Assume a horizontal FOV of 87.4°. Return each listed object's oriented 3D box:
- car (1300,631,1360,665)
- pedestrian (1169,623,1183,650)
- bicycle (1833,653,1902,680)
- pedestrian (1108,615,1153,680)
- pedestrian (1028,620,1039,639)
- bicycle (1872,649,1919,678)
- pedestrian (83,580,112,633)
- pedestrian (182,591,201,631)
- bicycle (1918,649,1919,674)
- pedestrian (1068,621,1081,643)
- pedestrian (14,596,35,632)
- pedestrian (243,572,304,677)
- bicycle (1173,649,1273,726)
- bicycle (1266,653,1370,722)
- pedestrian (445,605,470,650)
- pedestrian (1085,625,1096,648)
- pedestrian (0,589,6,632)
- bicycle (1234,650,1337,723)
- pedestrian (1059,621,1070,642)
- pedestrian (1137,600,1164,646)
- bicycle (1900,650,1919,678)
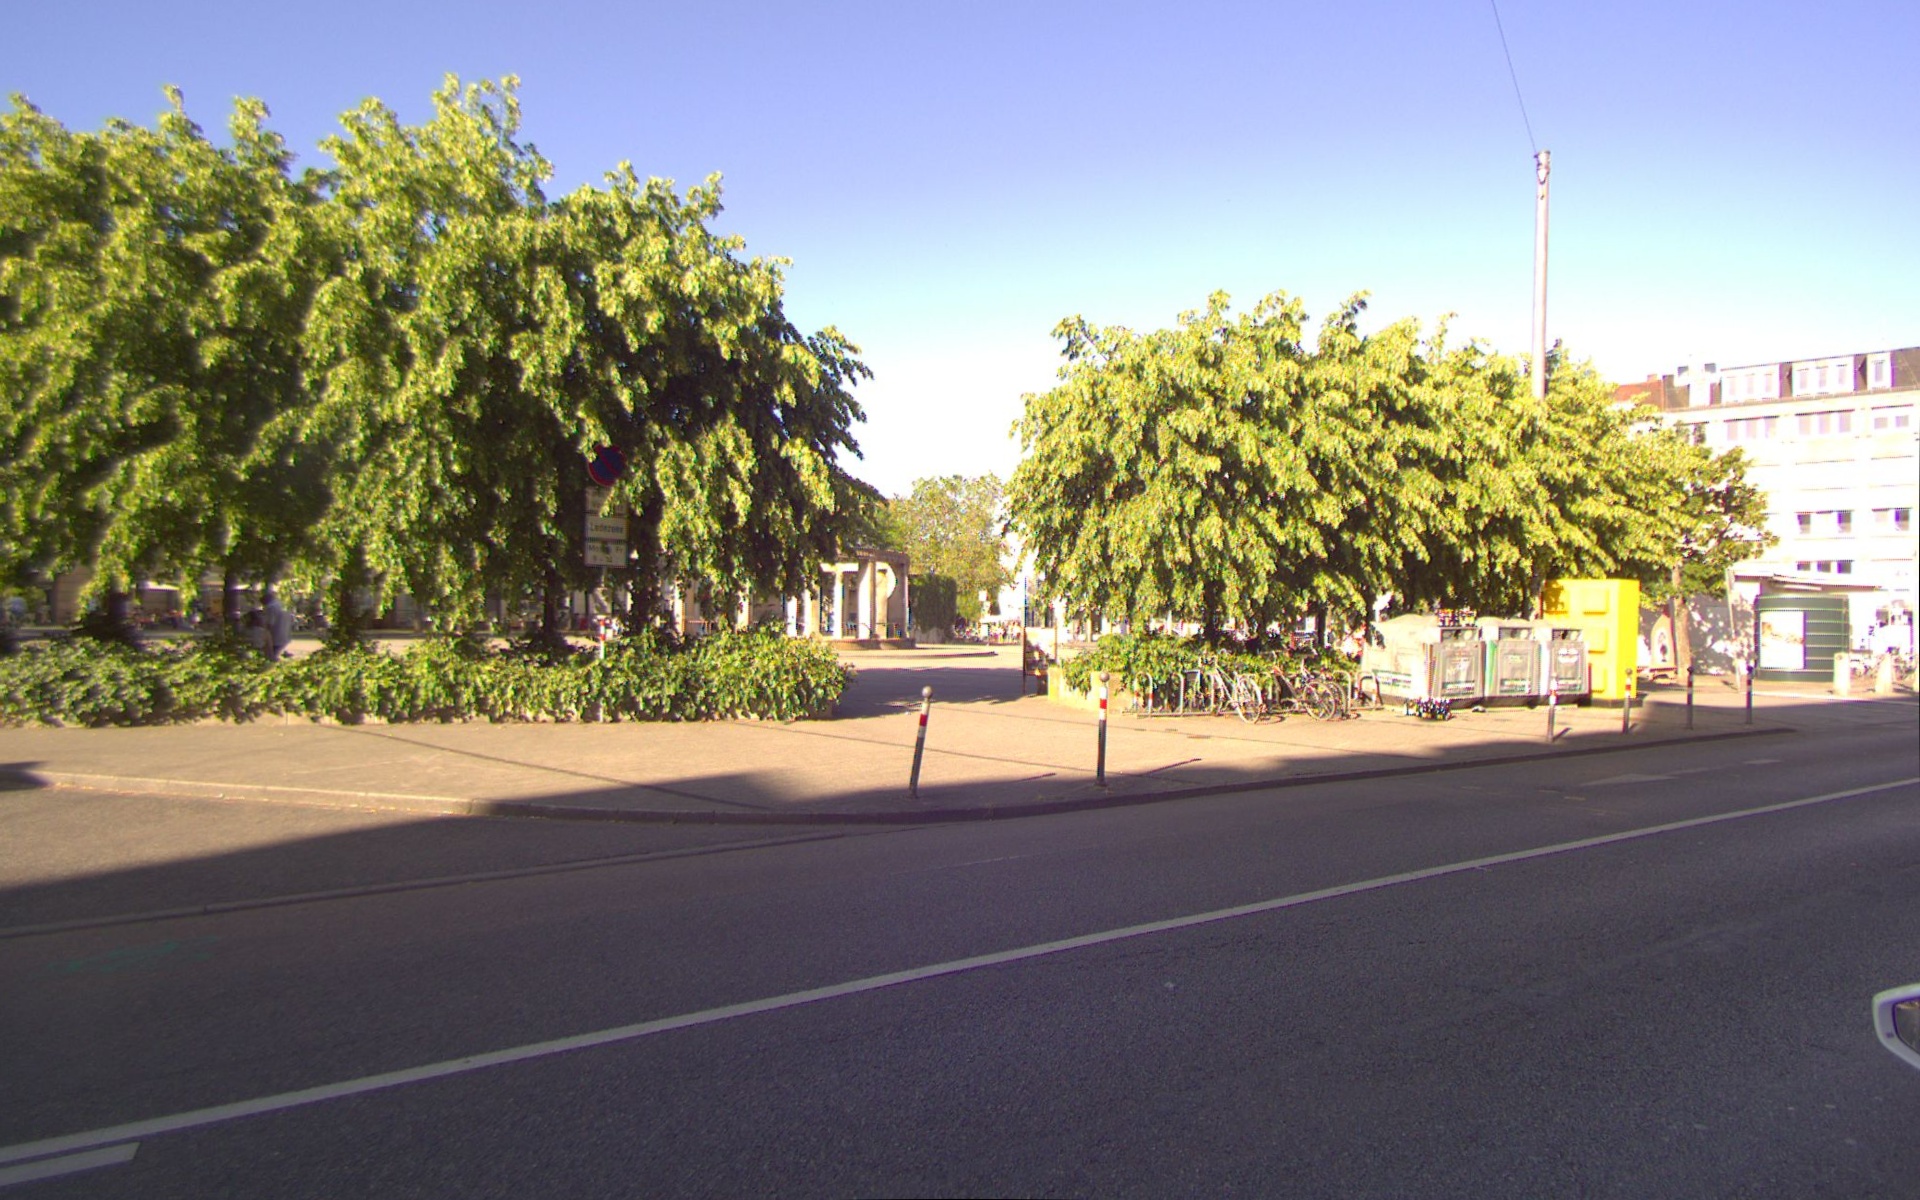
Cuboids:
[{"bbox_3d":[17.014,2.170,46.330,1.658,1.405,3.575,1,-1,5],"label":"car"},{"bbox_3d":[14.210,2.427,66.177,0.741,1.740,0.854,1,-1,4],"label":"pedestrian"},{"bbox_3d":[30.806,2.246,34.128,0.600,0.802,1.634,2,0,-33],"label":"bicycle"},{"bbox_3d":[5.531,1.533,32.600,0.967,2.040,1.042,2,0,-42],"label":"pedestrian"},{"bbox_3d":[7.919,3.205,108.237,0.861,2.040,0.901,2,0,-9],"label":"pedestrian"},{"bbox_3d":[33.184,2.217,35.104,0.599,0.946,1.855,1,-1,-30],"label":"bicycle"},{"bbox_3d":[-29.240,0.225,34.057,0.599,1.744,0.644,2,0,41],"label":"pedestrian"},{"bbox_3d":[-38.557,0.544,50.420,0.669,1.974,0.634,2,0,-33],"label":"pedestrian"},{"bbox_3d":[37.035,2.348,37.425,0.599,0.946,1.854,2,0,-30],"label":"bicycle"},{"bbox_3d":[10.750,3.035,94.618,0.887,2.040,0.875,2,0,33],"label":"pedestrian"},{"bbox_3d":[-46.436,0.711,49.850,0.599,1.744,0.644,2,0,39],"label":"pedestrian"},{"bbox_3d":[-11.288,0.399,16.538,0.615,1.671,0.654,2,0,-16],"label":"pedestrian"},{"bbox_3d":[4.055,1.324,15.656,0.508,1.029,1.930,2,0,-19],"label":"bicycle"},{"bbox_3d":[5.811,1.400,16.418,0.508,0.968,1.898,2,0,-20],"label":"bicycle"},{"bbox_3d":[-20.019,1.082,40.017,0.599,1.744,0.644,2,0,37],"label":"pedestrian"},{"bbox_3d":[12.928,3.644,99.364,0.860,2.199,0.902,2,0,-5],"label":"pedestrian"},{"bbox_3d":[-39.671,0.412,41.254,0.600,1.744,0.643,2,0,45],"label":"pedestrian"},{"bbox_3d":[5.241,1.366,16.304,0.508,1.016,1.923,2,0,-20],"label":"bicycle"},{"bbox_3d":[9.998,3.021,96.447,0.860,2.040,0.902,2,0,-5],"label":"pedestrian"},{"bbox_3d":[8.604,1.025,45.450,0.875,2.040,0.896,1,0,-17],"label":"pedestrian"},{"bbox_3d":[35.029,2.332,36.001,0.599,0.946,1.854,2,0,-30],"label":"bicycle"}]
